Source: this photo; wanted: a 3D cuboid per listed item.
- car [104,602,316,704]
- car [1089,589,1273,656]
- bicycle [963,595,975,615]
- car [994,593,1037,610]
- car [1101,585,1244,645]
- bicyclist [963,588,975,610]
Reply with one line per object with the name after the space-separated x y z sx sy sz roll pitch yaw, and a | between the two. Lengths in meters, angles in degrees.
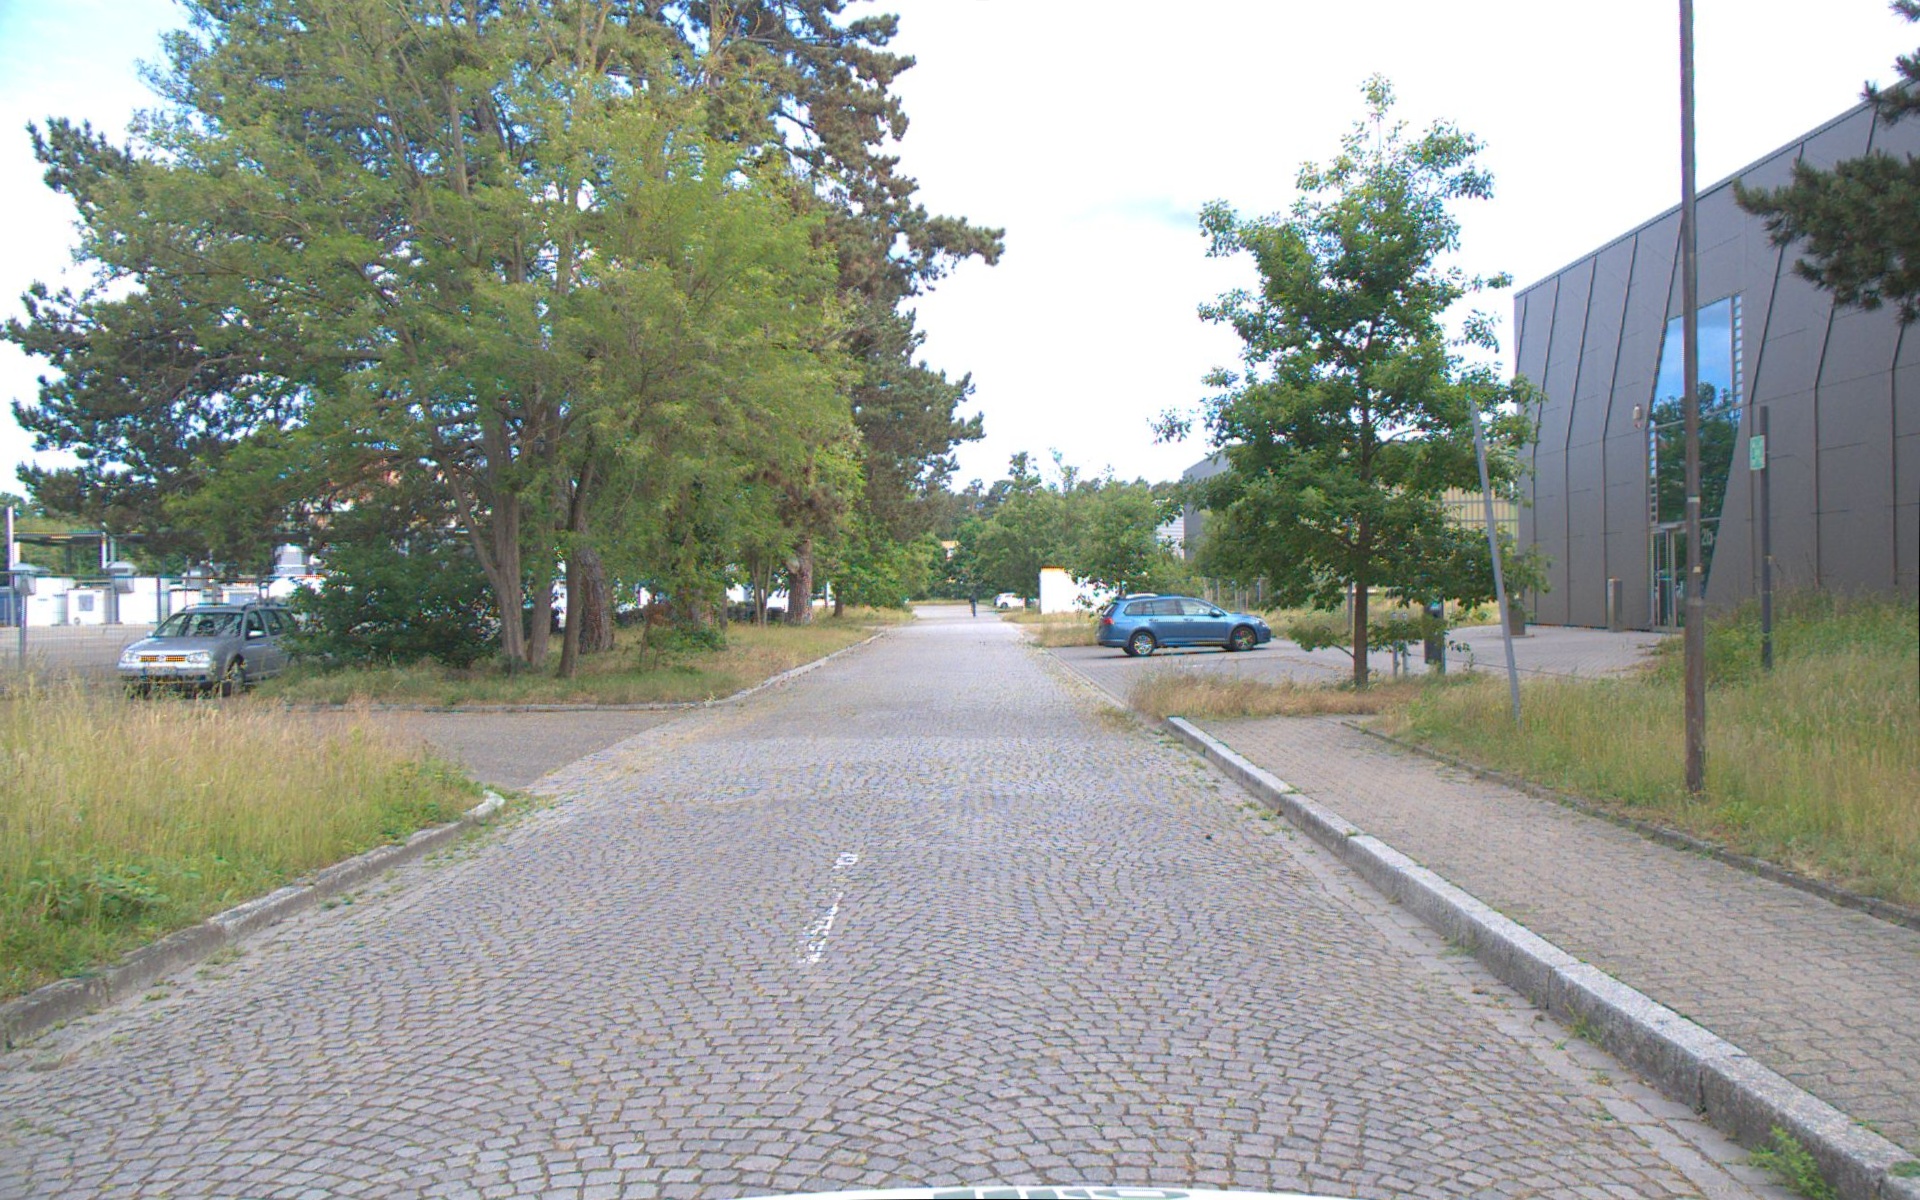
-12.486 0.827 27.843 1.695 1.457 4.161 -1 1 -1 | car
5.661 0.556 42.662 4.391 1.488 1.934 -3 0 -3 | car
0.641 0.371 118.494 0.807 1.400 2.042 -1 1 -1 | bicycle
5.437 0.162 162.481 4.232 1.576 2.000 -1 0 1 | car
6.400 0.442 50.118 4.025 1.600 1.764 -3 0 -3 | car
0.639 -0.050 118.499 0.879 1.569 0.868 -1 1 -1 | bicyclist
